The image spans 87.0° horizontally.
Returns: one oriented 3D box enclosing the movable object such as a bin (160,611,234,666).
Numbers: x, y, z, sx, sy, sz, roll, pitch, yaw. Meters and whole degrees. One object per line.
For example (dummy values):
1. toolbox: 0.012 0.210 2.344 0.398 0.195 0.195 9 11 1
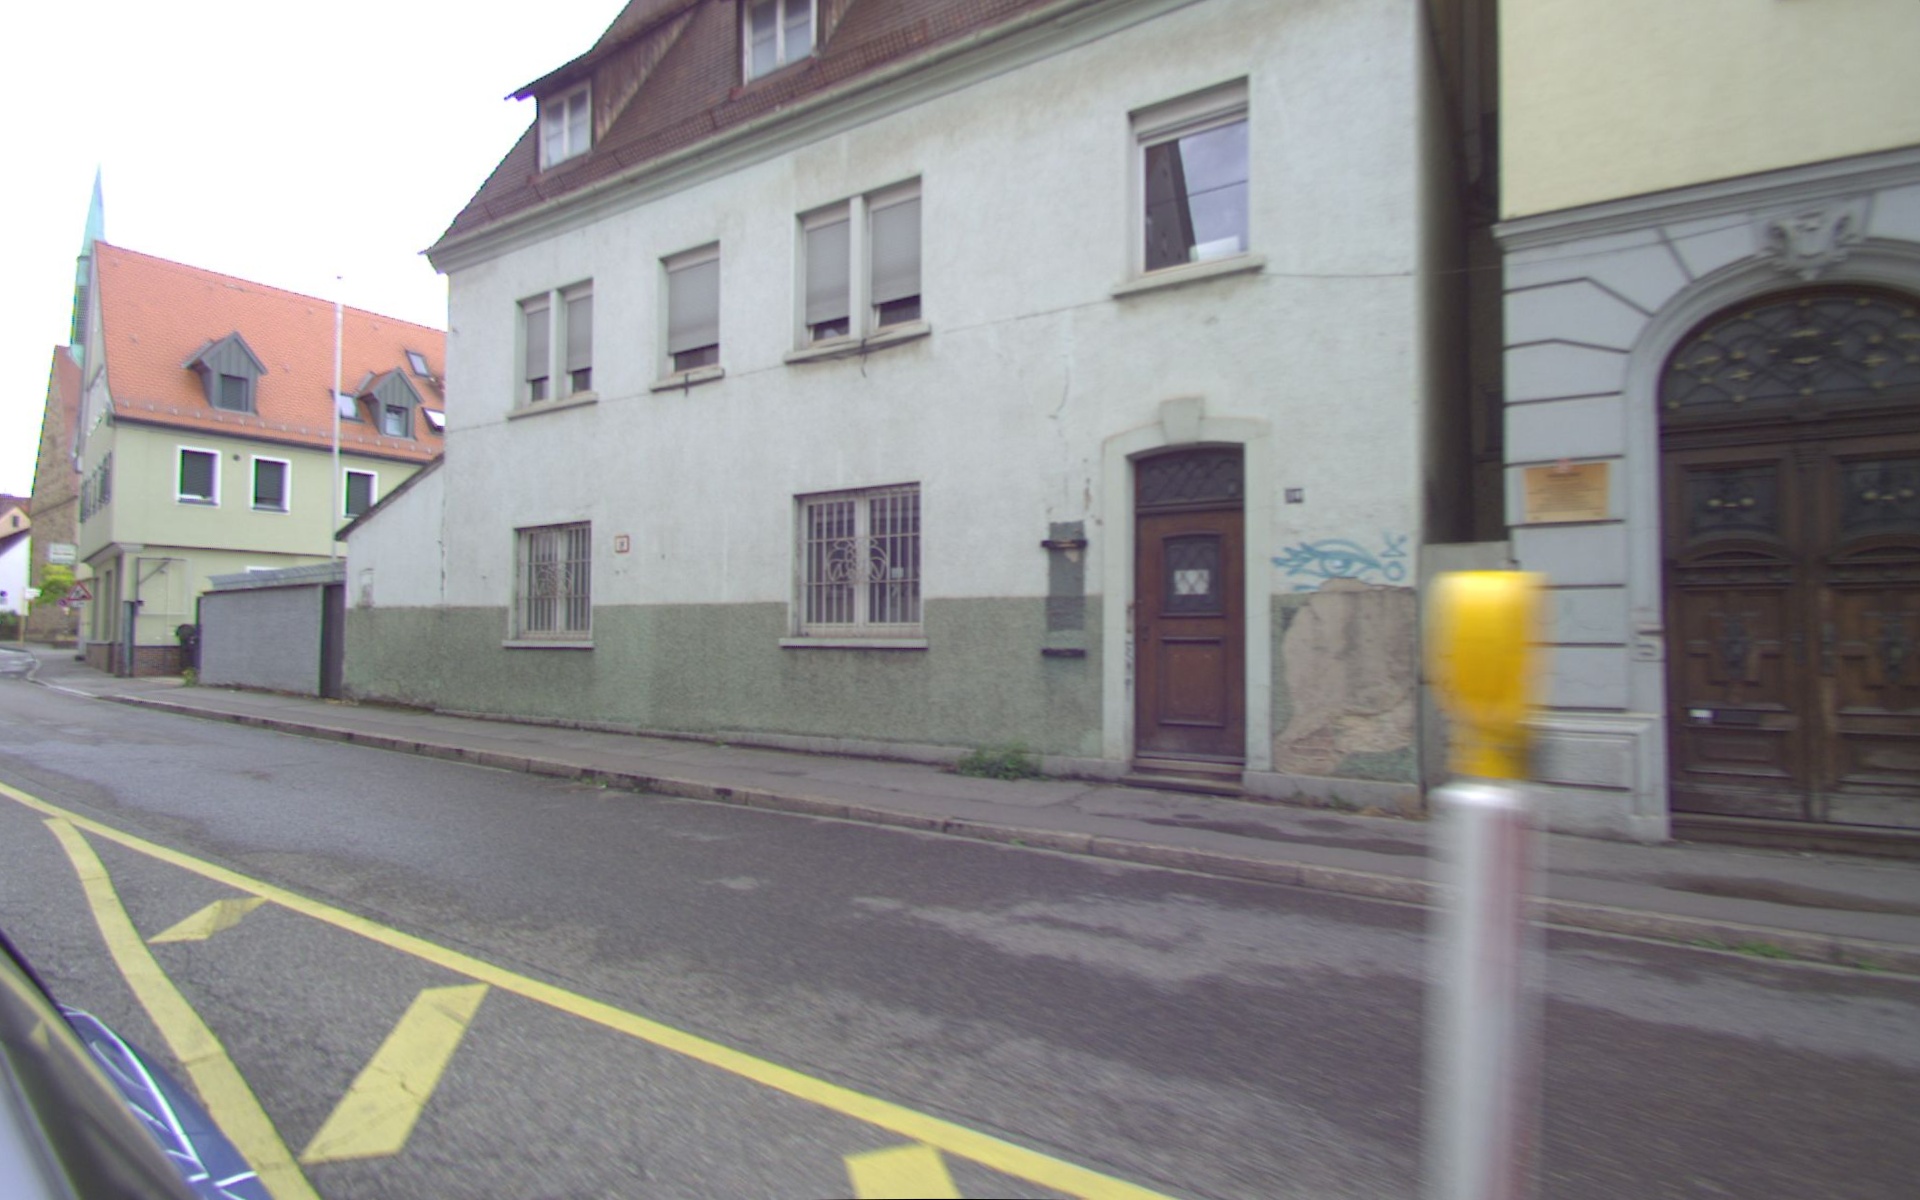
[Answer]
1. movable object such as a bin: -21.064 1.047 27.943 1.096 1.487 1.298 0 -2 31
